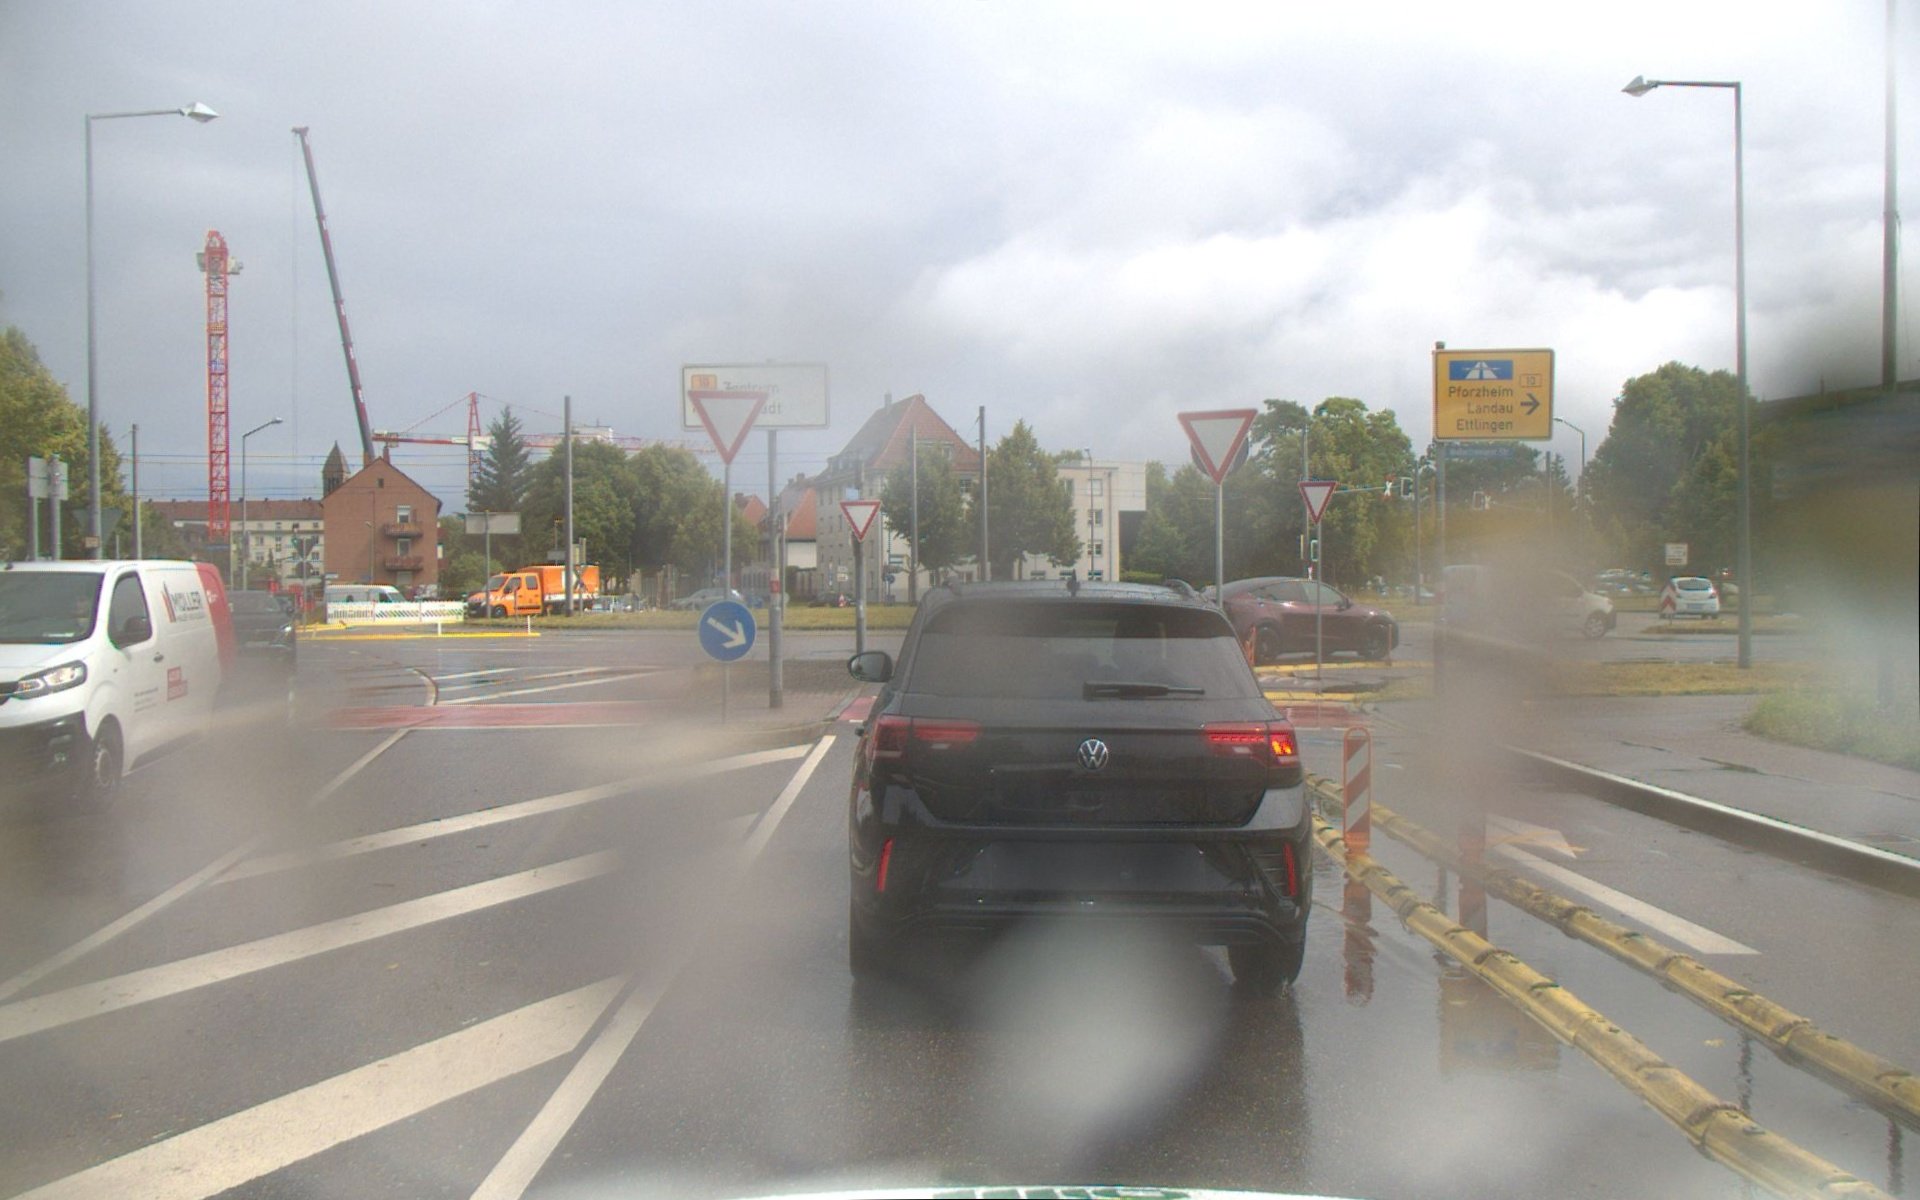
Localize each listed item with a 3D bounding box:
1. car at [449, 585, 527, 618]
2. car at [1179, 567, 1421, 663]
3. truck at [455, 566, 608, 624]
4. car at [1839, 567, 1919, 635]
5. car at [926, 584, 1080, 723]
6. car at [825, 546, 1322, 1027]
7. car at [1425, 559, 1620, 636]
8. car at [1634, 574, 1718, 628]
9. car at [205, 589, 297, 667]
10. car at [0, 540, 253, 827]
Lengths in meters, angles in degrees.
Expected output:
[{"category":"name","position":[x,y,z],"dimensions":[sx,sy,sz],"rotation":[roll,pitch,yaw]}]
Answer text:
[{"category":"car","position":[-23.795,0.073,83.452],"dimensions":[3.474,1.612,1.544],"rotation":[-1,1,-40]},{"category":"car","position":[6.680,0.266,32.687],"dimensions":[4.264,1.755,1.995],"rotation":[-1,0,-11]},{"category":"truck","position":[-20.641,-0.279,80.040],"dimensions":[2.290,2.696,7.042],"rotation":[0,1,44]},{"category":"car","position":[23.205,0.004,38.845],"dimensions":[4.299,1.575,1.870],"rotation":[0,0,21]},{"category":"car","position":[0.525,0.577,20.128],"dimensions":[1.699,1.540,3.604],"rotation":[0,0,1]},{"category":"car","position":[0.289,0.621,7.401],"dimensions":[1.674,1.601,3.680],"rotation":[0,0,-3]},{"category":"car","position":[13.871,-0.081,40.815],"dimensions":[4.321,1.841,1.861],"rotation":[0,0,-18]},{"category":"car","position":[25.866,0.009,59.885],"dimensions":[1.951,1.862,4.004],"rotation":[-1,0,11]},{"category":"car","position":[-16.152,0.600,37.819],"dimensions":[1.709,1.693,4.084],"rotation":[0,0,-20]},{"category":"car","position":[-7.358,0.559,13.460],"dimensions":[1.854,1.909,5.119],"rotation":[-1,0,-11]}]
